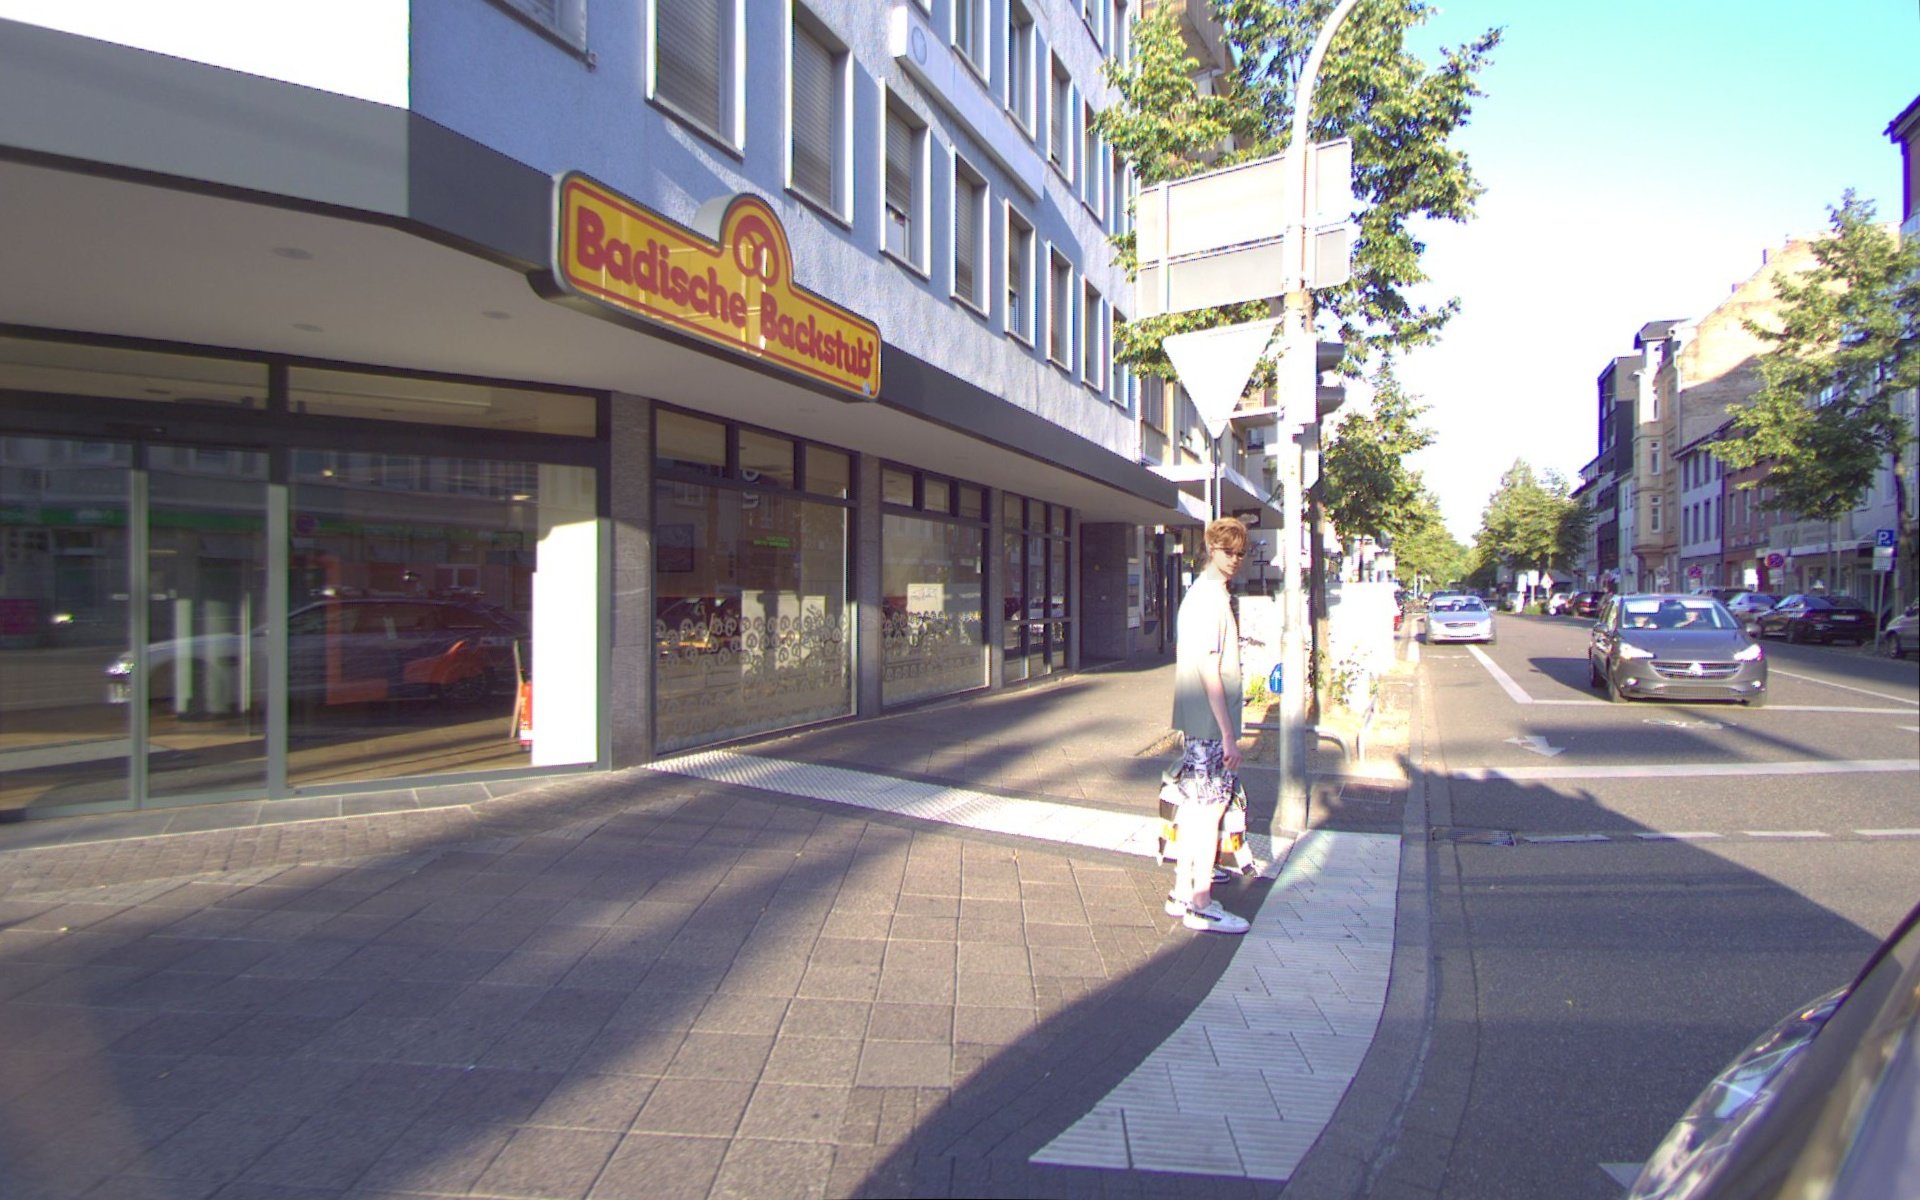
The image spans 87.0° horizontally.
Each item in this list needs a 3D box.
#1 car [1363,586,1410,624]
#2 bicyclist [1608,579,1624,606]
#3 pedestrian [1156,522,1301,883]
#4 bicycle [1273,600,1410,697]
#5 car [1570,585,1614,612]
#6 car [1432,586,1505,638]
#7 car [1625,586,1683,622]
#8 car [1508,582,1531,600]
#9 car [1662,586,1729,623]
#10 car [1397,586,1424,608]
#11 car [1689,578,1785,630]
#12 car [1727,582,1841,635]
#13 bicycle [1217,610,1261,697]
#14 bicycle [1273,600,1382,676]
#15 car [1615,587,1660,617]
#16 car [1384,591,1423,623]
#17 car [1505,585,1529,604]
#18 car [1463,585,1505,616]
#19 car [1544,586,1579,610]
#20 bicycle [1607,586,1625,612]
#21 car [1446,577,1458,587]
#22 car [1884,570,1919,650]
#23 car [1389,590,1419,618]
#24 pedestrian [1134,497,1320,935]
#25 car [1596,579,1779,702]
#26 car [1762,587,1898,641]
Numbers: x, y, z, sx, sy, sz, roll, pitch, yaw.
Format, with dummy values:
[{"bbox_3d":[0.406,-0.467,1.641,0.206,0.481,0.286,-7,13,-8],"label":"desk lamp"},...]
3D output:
[{"bbox_3d":[17.760,0.197,42.093,1.637,1.446,3.965,-1,0,25],"label":"car"},{"bbox_3d":[33.153,-0.376,51.173,0.563,1.319,0.655,-2,0,24],"label":"bicyclist"},{"bbox_3d":[1.415,0.504,5.441,0.628,1.795,0.748,0,0,5],"label":"pedestrian"},{"bbox_3d":[4.948,0.605,13.201,1.642,1.209,0.474,0,-1,21],"label":"bicycle"},{"bbox_3d":[41.322,-0.122,66.231,1.862,1.698,4.003,-1,1,25],"label":"car"},{"bbox_3d":[15.044,0.316,30.089,1.773,1.386,4.533,-1,0,26],"label":"car"},{"bbox_3d":[36.562,0.171,53.408,1.858,1.749,4.106,0,1,25],"label":"car"},{"bbox_3d":[58.103,-0.948,105.136,1.748,1.795,3.839,0,1,25],"label":"car"},{"bbox_3d":[33.056,0.175,45.597,1.719,1.544,3.809,1,1,25],"label":"car"},{"bbox_3d":[33.510,-0.251,75.279,1.748,1.592,3.839,1,1,25],"label":"car"},{"bbox_3d":[30.614,0.138,40.043,1.953,1.908,4.904,0,0,25],"label":"car"},{"bbox_3d":[27.505,0.240,33.969,1.878,1.619,4.899,1,1,26],"label":"car"},{"bbox_3d":[3.670,0.666,13.268,0.399,1.023,1.659,2,1,20],"label":"bicycle"},{"bbox_3d":[6.017,0.612,16.640,1.637,1.209,0.492,0,0,14],"label":"bicycle"},{"bbox_3d":[38.792,0.101,58.011,1.670,1.609,3.486,0,1,26],"label":"car"},{"bbox_3d":[21.157,0.315,48.329,1.597,1.412,3.665,-1,0,24],"label":"car"},{"bbox_3d":[53.223,-0.534,96.804,1.770,1.795,3.839,1,1,25],"label":"car"},{"bbox_3d":[28.317,-0.018,54.776,1.673,1.562,3.702,-1,1,23],"label":"car"},{"bbox_3d":[43.281,-0.150,72.885,1.778,1.635,3.939,-1,1,25],"label":"car"},{"bbox_3d":[33.169,-0.061,51.172,0.416,1.253,1.681,-2,0,23],"label":"bicycle"},{"bbox_3d":[83.330,-3.101,171.375,1.656,1.660,3.227,-1,0,26],"label":"car"},{"bbox_3d":[20.996,0.213,20.731,1.700,1.685,3.971,-1,1,22],"label":"car"},{"bbox_3d":[24.086,0.184,54.867,1.416,1.469,3.352,0,0,24],"label":"car"},{"bbox_3d":[1.165,0.474,4.546,0.575,1.795,0.750,0,0,-5],"label":"pedestrian"},{"bbox_3d":[10.037,0.461,14.219,1.573,1.471,3.805,0,1,28],"label":"car"},{"bbox_3d":[24.940,0.339,29.197,1.785,1.410,4.382,0,1,24],"label":"car"}]
